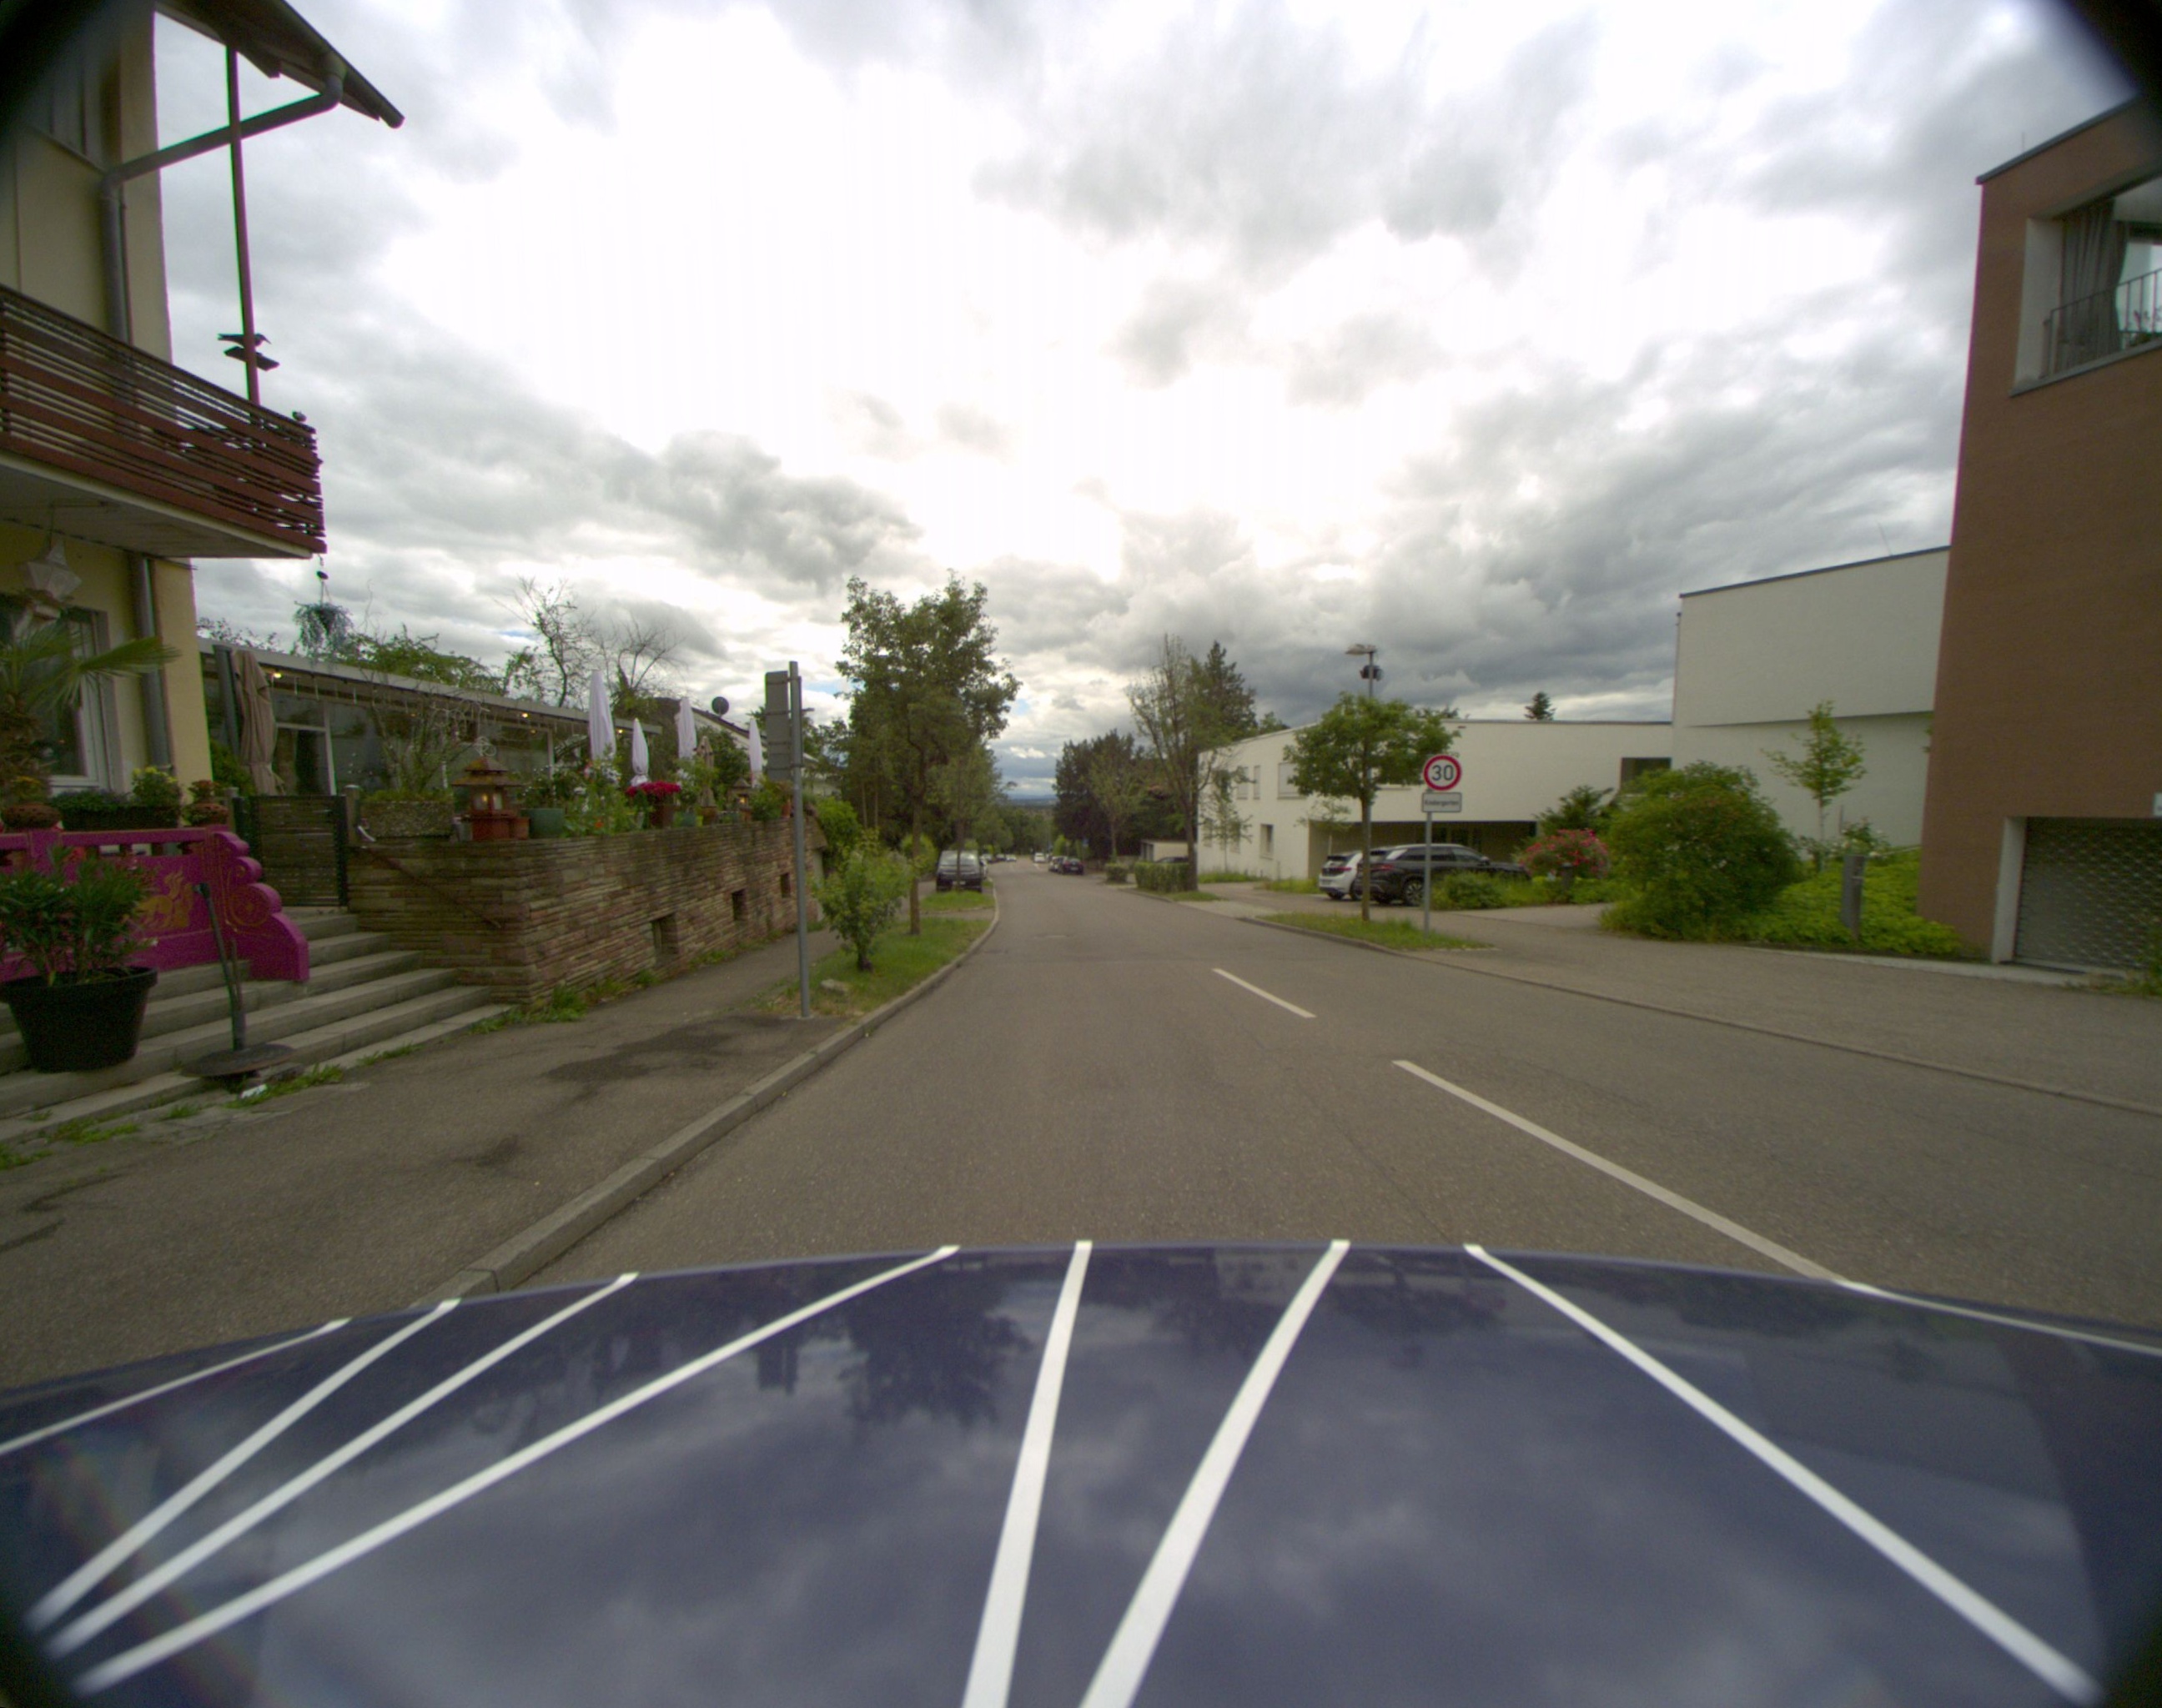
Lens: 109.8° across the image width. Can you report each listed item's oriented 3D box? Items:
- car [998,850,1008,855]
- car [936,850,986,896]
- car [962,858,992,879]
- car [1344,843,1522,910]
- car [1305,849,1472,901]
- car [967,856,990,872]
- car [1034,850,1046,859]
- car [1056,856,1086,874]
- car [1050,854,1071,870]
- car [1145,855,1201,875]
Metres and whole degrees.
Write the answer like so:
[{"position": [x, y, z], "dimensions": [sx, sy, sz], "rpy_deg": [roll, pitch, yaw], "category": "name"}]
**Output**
[{"position": [-17.035, -0.354, 166.105], "dimensions": [1.999, 1.221, 3.998], "rpy_deg": [1, 1, -4], "category": "car"}, {"position": [-5.158, 0.772, 33.294], "dimensions": [1.942, 1.827, 5.215], "rpy_deg": [-1, 0, -7], "category": "car"}, {"position": [-7.582, 1.016, 55.764], "dimensions": [2.000, 1.483, 5.001], "rpy_deg": [0, 0, -6], "category": "car"}, {"position": [9.617, 0.581, 20.957], "dimensions": [3.999, 1.644, 2.007], "rpy_deg": [-1, 0, -6], "category": "car"}, {"position": [9.523, 0.618, 23.741], "dimensions": [4.401, 1.557, 2.065], "rpy_deg": [0, 0, -8], "category": "car"}, {"position": [-10.302, 0.972, 75.997], "dimensions": [2.008, 1.599, 4.753], "rpy_deg": [0, 0, -12], "category": "car"}, {"position": [-6.496, 0.121, 120.403], "dimensions": [1.694, 1.411, 3.578], "rpy_deg": [2, 0, -3], "category": "car"}, {"position": [-0.889, 0.908, 63.998], "dimensions": [1.856, 1.461, 4.679], "rpy_deg": [0, 0, -8], "category": "car"}, {"position": [-1.958, 0.740, 71.999], "dimensions": [1.629, 1.510, 2.973], "rpy_deg": [-1, 1, -8], "category": "car"}, {"position": [6.654, 0.800, 55.411], "dimensions": [3.805, 1.346, 1.741], "rpy_deg": [-1, 0, -2], "category": "car"}]
